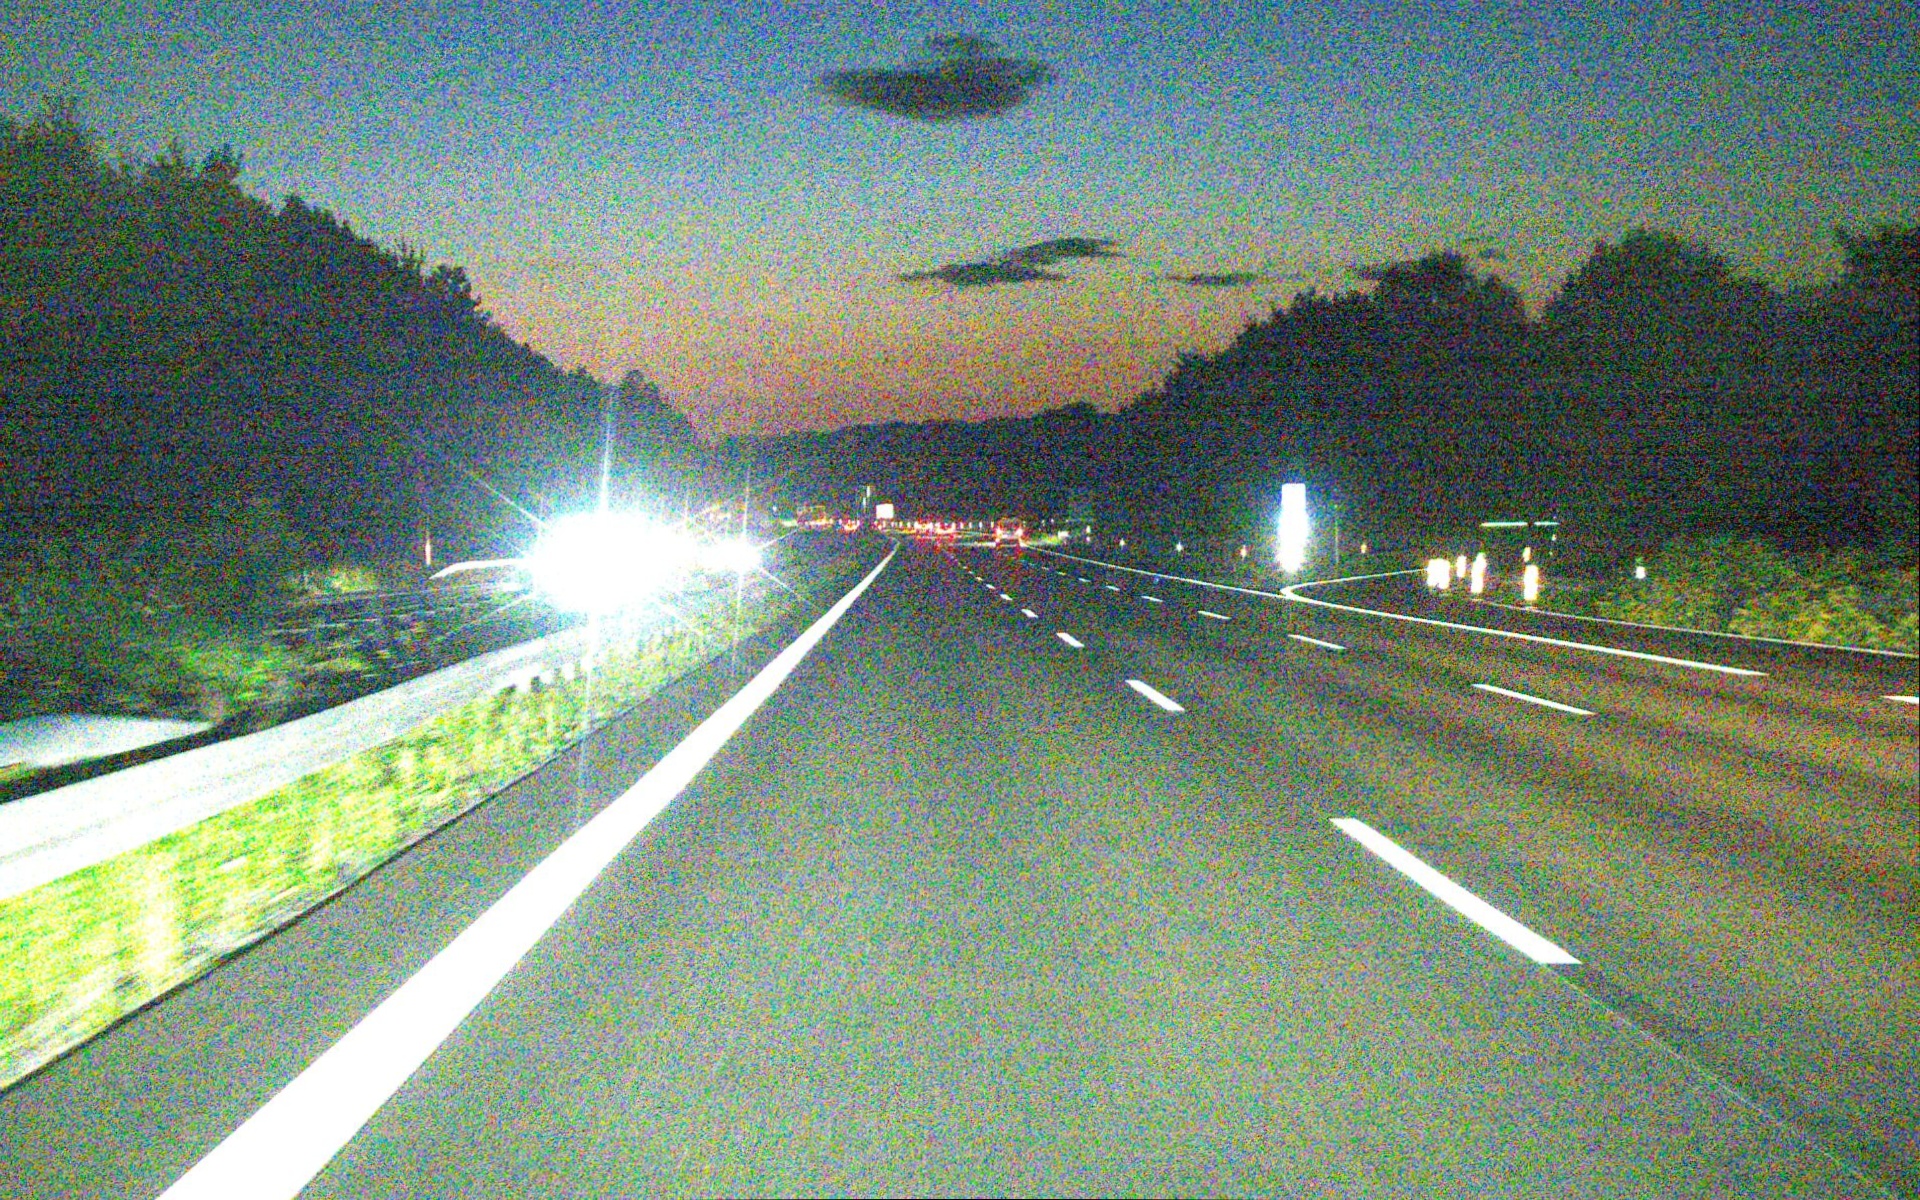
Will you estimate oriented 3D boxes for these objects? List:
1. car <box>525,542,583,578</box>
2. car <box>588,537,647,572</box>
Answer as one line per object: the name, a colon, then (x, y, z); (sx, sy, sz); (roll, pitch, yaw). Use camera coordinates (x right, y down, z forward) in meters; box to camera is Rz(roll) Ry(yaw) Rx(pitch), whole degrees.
car: (-17.929, -1.799, 152.095); (1.993, 1.480, 4.801); (-2, 1, 0)
car: (-14.466, -1.936, 145.532); (1.993, 1.389, 5.706); (-2, 1, -1)
